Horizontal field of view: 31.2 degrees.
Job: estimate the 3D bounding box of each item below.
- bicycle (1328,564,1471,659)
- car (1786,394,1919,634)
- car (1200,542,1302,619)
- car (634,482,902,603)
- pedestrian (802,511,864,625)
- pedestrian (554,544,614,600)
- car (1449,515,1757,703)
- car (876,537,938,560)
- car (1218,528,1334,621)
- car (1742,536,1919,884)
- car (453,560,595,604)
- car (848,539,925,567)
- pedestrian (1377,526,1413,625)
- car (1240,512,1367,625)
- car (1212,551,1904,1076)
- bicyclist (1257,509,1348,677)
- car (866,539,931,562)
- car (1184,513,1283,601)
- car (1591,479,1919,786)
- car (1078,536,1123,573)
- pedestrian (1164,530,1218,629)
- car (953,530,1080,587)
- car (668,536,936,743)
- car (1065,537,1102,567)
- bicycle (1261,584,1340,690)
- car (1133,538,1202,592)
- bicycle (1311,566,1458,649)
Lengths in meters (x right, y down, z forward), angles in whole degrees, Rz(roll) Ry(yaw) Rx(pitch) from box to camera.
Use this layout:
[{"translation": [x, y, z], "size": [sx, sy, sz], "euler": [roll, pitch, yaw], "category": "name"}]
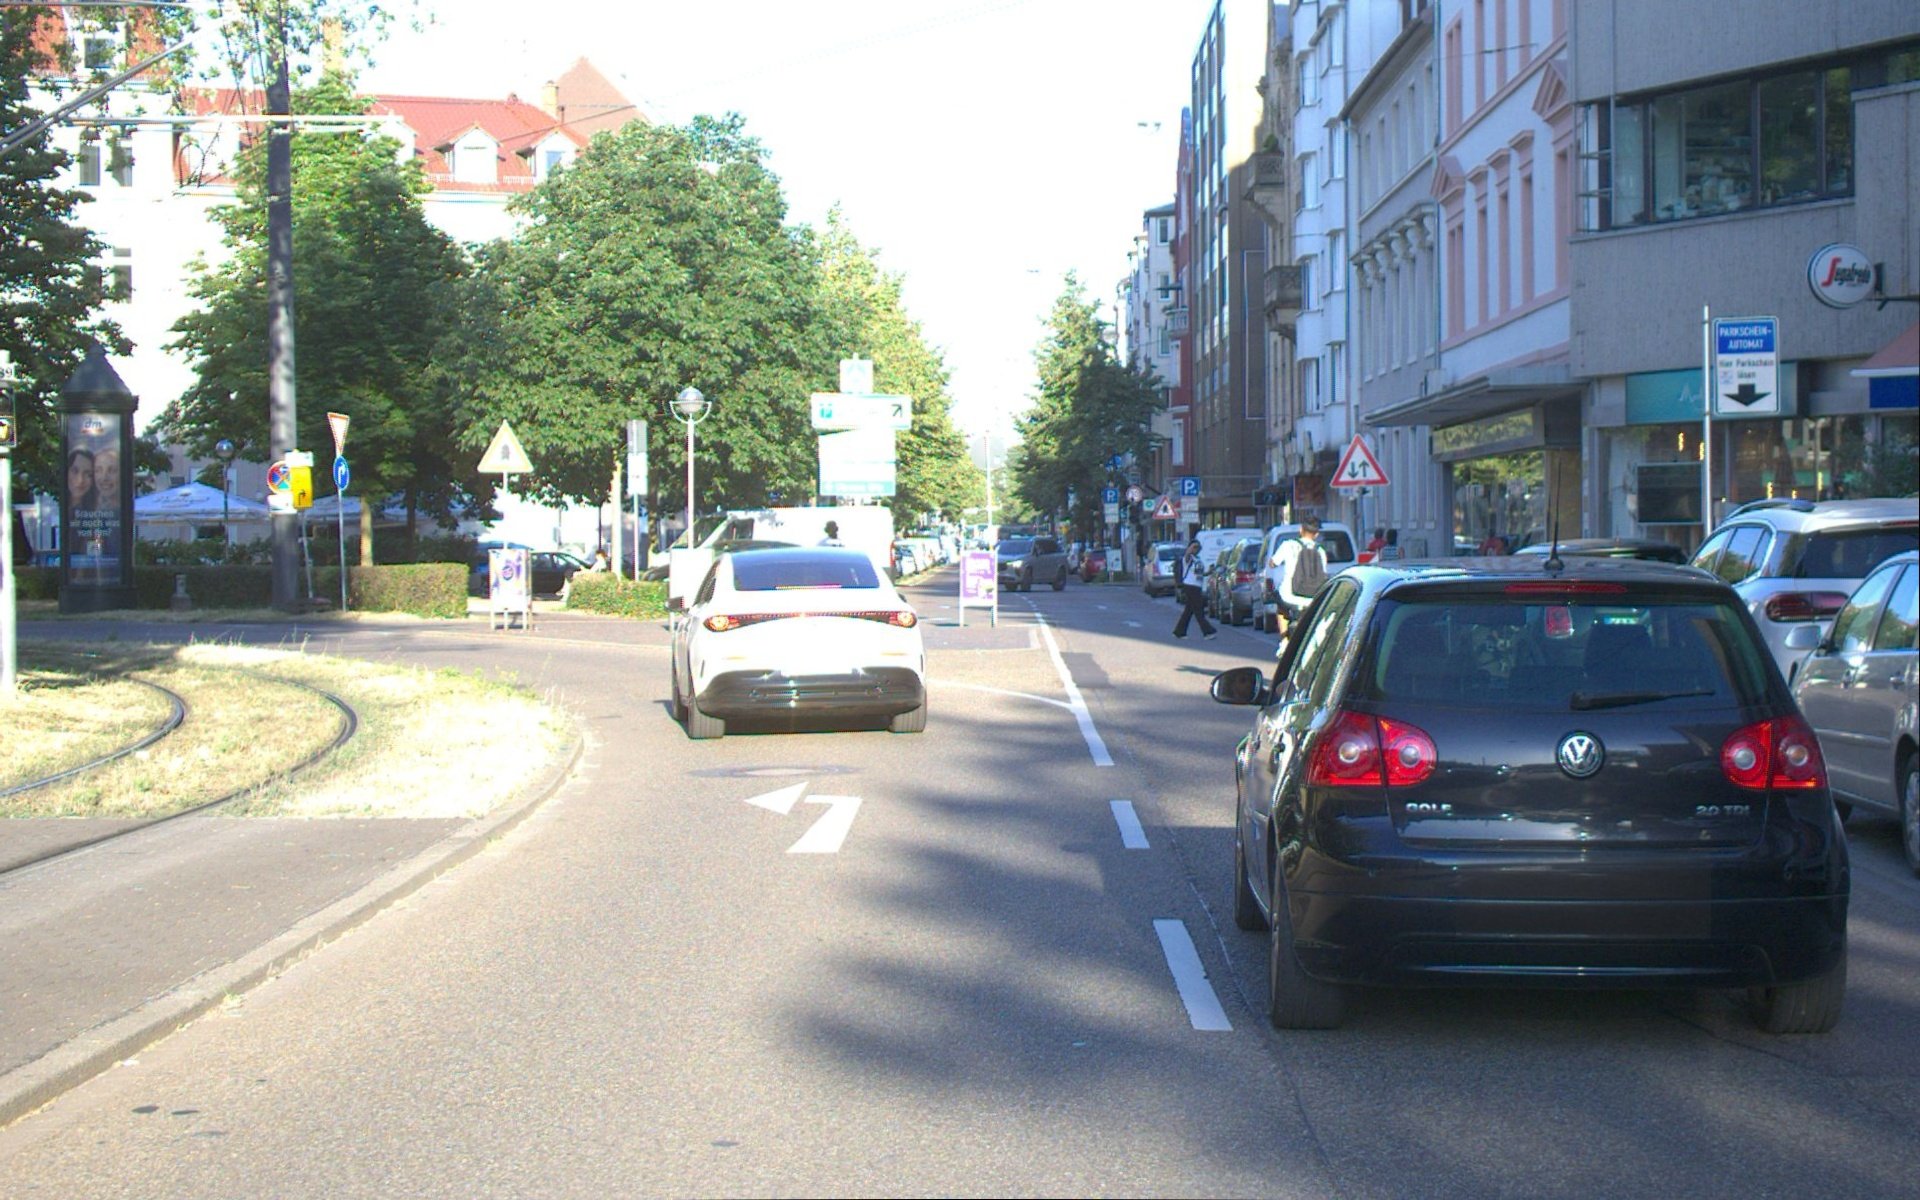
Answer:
[{"translation": [5.429, 0.148, 42.491], "size": [1.605, 1.115, 0.611], "euler": [-1, 2, 34], "category": "bicycle"}, {"translation": [11.728, -0.974, 36.986], "size": [5.315, 2.434, 2.092], "euler": [-2, 1, -25], "category": "car"}, {"translation": [5.839, -0.407, 69.329], "size": [1.734, 1.457, 3.585], "euler": [-2, 1, 0], "category": "car"}, {"translation": [-4.229, -1.278, 75.823], "size": [5.510, 2.586, 2.155], "euler": [-1, 1, -25], "category": "car"}, {"translation": [-1.926, -0.487, 51.976], "size": [0.859, 1.700, 0.941], "euler": [0, 1, -6], "category": "pedestrian"}, {"translation": [-8.347, -0.614, 76.363], "size": [1.097, 1.222, 0.860], "euler": [0, 1, -25], "category": "pedestrian"}, {"translation": [5.466, 0.032, 29.685], "size": [1.662, 1.436, 3.824], "euler": [-3, 1, -4], "category": "car"}, {"translation": [-3.132, -3.067, 204.722], "size": [3.377, 1.283, 1.673], "euler": [0, 1, -15], "category": "car"}, {"translation": [5.778, -0.489, 63.214], "size": [1.734, 1.611, 3.917], "euler": [-2, 1, 0], "category": "car"}, {"translation": [4.975, 0.429, 16.360], "size": [1.662, 1.436, 3.855], "euler": [-3, 1, 2], "category": "car"}, {"translation": [-13.390, -0.569, 105.551], "size": [3.986, 1.297, 1.853], "euler": [0, 1, -22], "category": "car"}, {"translation": [-3.548, -2.253, 165.804], "size": [3.377, 1.283, 1.673], "euler": [0, 1, -15], "category": "car"}, {"translation": [7.118, -0.403, 56.227], "size": [0.502, 1.619, 0.496], "euler": [1, 1, 1], "category": "pedestrian"}, {"translation": [5.771, -0.554, 58.113], "size": [1.734, 1.794, 3.917], "euler": [-2, 1, 0], "category": "car"}, {"translation": [1.849, 0.576, 11.830], "size": [1.747, 1.456, 4.103], "euler": [0, 1, 1], "category": "car"}, {"translation": [3.346, -0.076, 33.659], "size": [0.777, 1.613, 1.025], "euler": [1, 1, 0], "category": "bicyclist"}, {"translation": [-3.535, -2.836, 196.918], "size": [3.377, 1.283, 1.673], "euler": [0, 1, -15], "category": "car"}, {"translation": [6.006, -0.954, 75.919], "size": [1.925, 1.835, 4.017], "euler": [-2, 1, 2], "category": "car"}, {"translation": [5.446, 0.116, 21.877], "size": [1.867, 1.708, 4.506], "euler": [-3, 1, -1], "category": "car"}, {"translation": [6.096, -1.987, 149.529], "size": [1.752, 1.505, 3.546], "euler": [-2, 1, -1], "category": "car"}, {"translation": [3.637, -0.323, 54.163], "size": [0.736, 1.549, 0.631], "euler": [0, 1, 15], "category": "pedestrian"}, {"translation": [1.857, -1.371, 111.467], "size": [1.998, 1.765, 3.990], "euler": [1, 2, 42], "category": "car"}, {"translation": [-1.342, 0.259, 27.507], "size": [1.865, 1.436, 4.198], "euler": [-3, 1, -6], "category": "car"}, {"translation": [6.530, -2.551, 182.271], "size": [1.752, 1.505, 3.546], "euler": [-2, 1, -1], "category": "car"}, {"translation": [3.331, 0.348, 33.709], "size": [0.579, 0.984, 1.936], "euler": [1, 1, 0], "category": "bicycle"}, {"translation": [6.144, -1.047, 102.077], "size": [1.752, 1.505, 3.546], "euler": [-2, 1, -1], "category": "car"}, {"translation": [5.740, 0.105, 46.520], "size": [1.850, 1.042, 0.580], "euler": [-2, 2, 31], "category": "bicycle"}]
